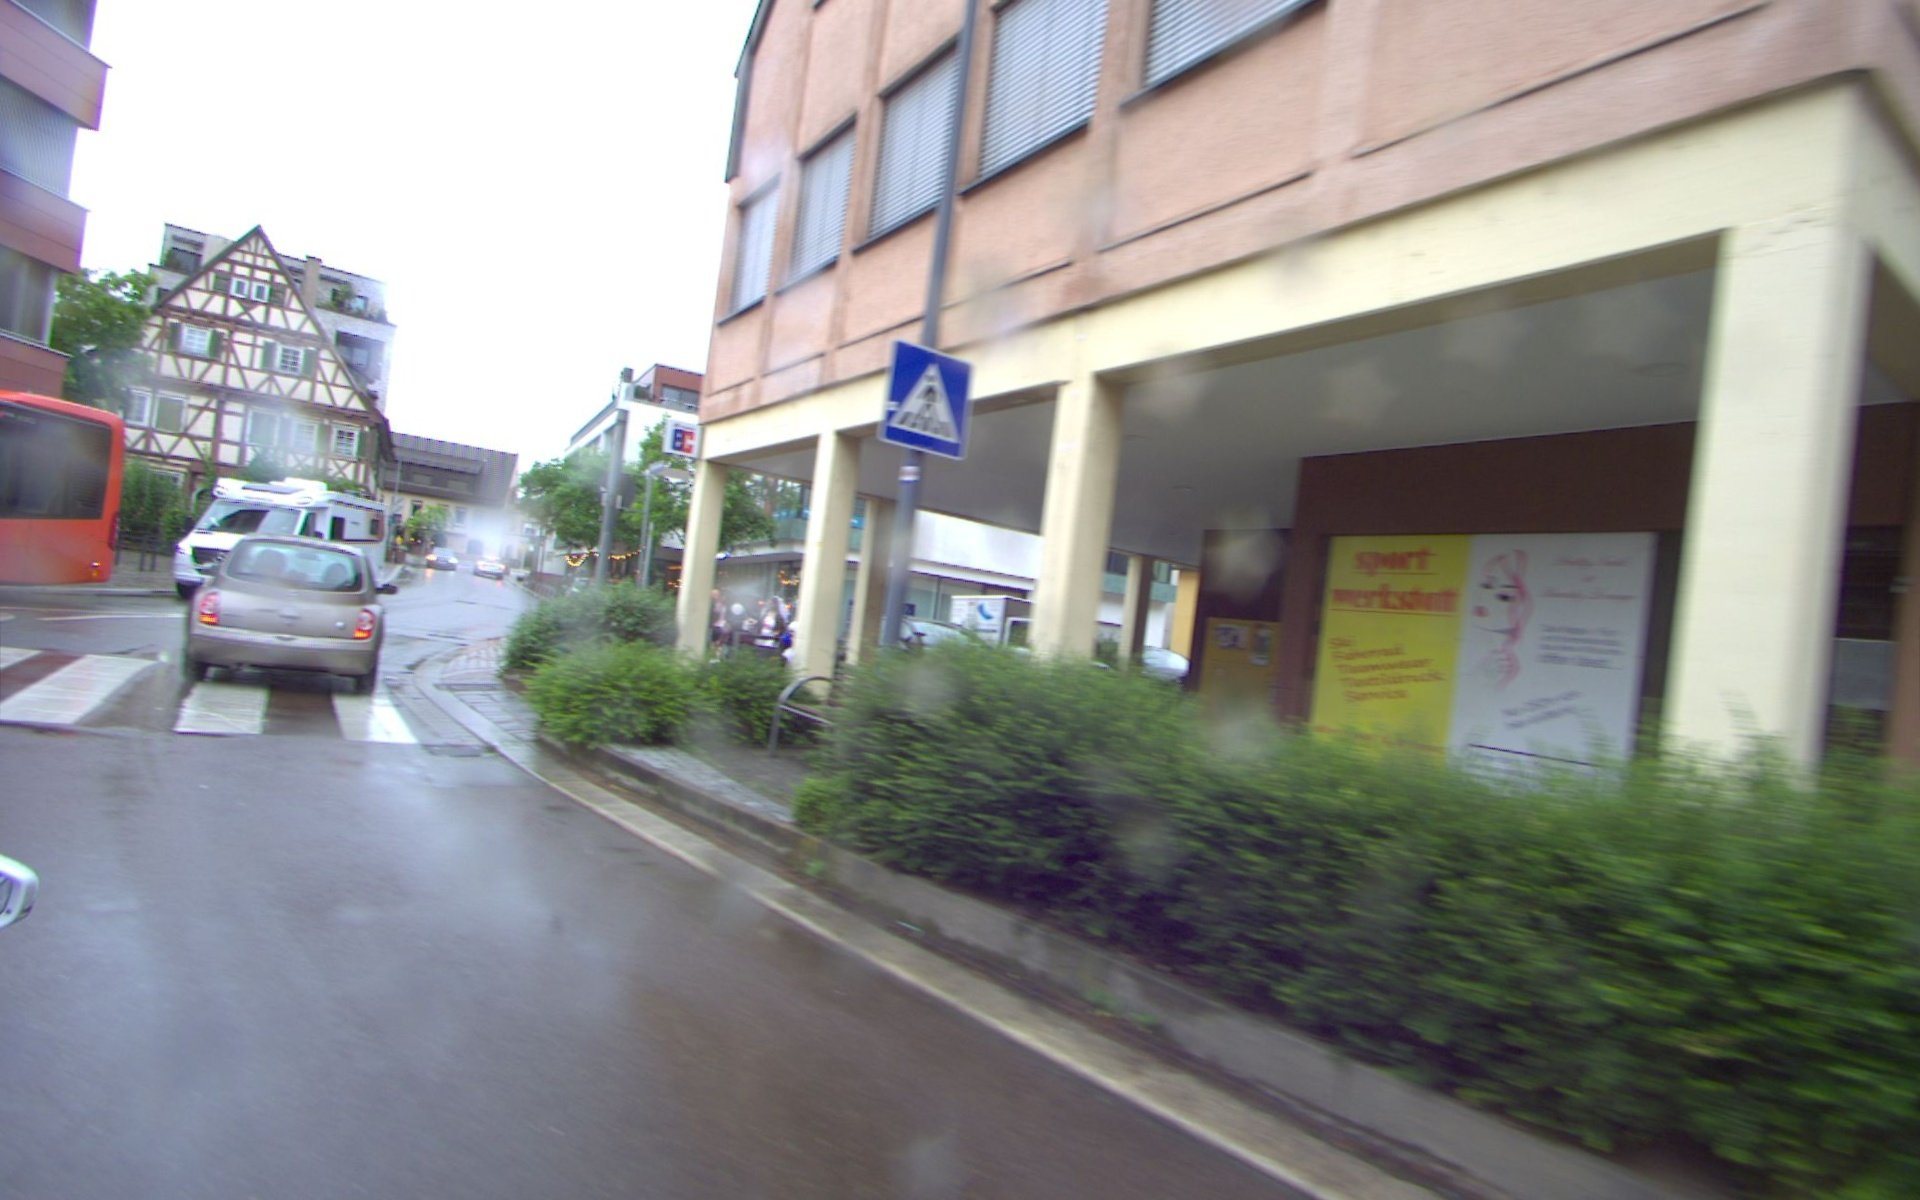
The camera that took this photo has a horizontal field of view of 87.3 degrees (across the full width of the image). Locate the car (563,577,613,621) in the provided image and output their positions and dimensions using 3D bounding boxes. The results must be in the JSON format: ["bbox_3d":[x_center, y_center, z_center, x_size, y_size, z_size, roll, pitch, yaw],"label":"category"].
[{"bbox_3d":[-14.435,-0.086,38.934,1.598,1.431,3.979,5,0,-22],"label":"car"}]

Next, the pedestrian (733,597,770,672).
[{"bbox_3d":[-4.921,0.806,23.776,0.536,1.683,0.517,7,-1,-30],"label":"pedestrian"}]

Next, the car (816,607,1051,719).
[{"bbox_3d":[-0.597,0.962,16.552,1.751,1.291,4.435,8,-2,-32],"label":"car"}]

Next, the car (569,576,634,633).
[{"bbox_3d":[-10.338,0.109,28.975,1.521,1.378,3.359,8,-2,-21],"label":"car"}]

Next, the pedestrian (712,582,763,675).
[{"bbox_3d":[-4.316,0.554,19.559,0.686,1.681,0.820,7,-1,-6],"label":"pedestrian"}]

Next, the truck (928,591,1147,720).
[{"bbox_3d":[1.280,0.931,18.232,1.751,1.829,3.966,8,-2,-33],"label":"truck"}]

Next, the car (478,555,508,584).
[{"bbox_3d":[-32.613,-2.096,70.226,1.659,1.732,3.302,8,-2,-25],"label":"car"}]

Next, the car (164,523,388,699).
[{"bbox_3d":[-7.247,0.067,10.957,1.510,1.488,3.318,8,-1,-28],"label":"car"}]

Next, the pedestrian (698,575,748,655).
[{"bbox_3d":[-5.563,0.350,23.609,0.728,1.769,0.886,7,-1,-29],"label":"pedestrian"}]

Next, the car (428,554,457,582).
[{"bbox_3d":[-36.912,-2.255,71.765,1.573,1.732,3.299,8,-2,-27],"label":"car"}]

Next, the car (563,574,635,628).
[{"bbox_3d":[-12.292,-0.003,34.144,1.611,1.518,3.973,8,-2,-28],"label":"car"}]

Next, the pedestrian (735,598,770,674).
[{"bbox_3d":[-4.316,0.747,20.901,0.489,1.527,0.490,7,-1,-6],"label":"pedestrian"}]

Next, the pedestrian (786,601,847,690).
[{"bbox_3d":[-2.869,0.908,20.183,0.949,1.658,0.734,7,-1,-2],"label":"pedestrian"}]

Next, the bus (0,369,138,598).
[{"bbox_3d":[-15.193,-1.901,10.925,2.768,3.126,10.614,6,-1,6],"label":"bus"}]

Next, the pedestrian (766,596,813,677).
[{"bbox_3d":[-3.852,0.816,22.732,0.629,1.709,0.737,7,-1,-31],"label":"pedestrian"}]

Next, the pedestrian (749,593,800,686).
[{"bbox_3d":[-3.616,0.761,19.666,0.712,1.709,0.733,7,-1,-4],"label":"pedestrian"}]

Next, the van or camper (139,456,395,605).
[{"bbox_3d":[-15.694,-1.380,23.447,2.408,2.615,6.734,8,-2,-14],"label":"van or camper"}]
